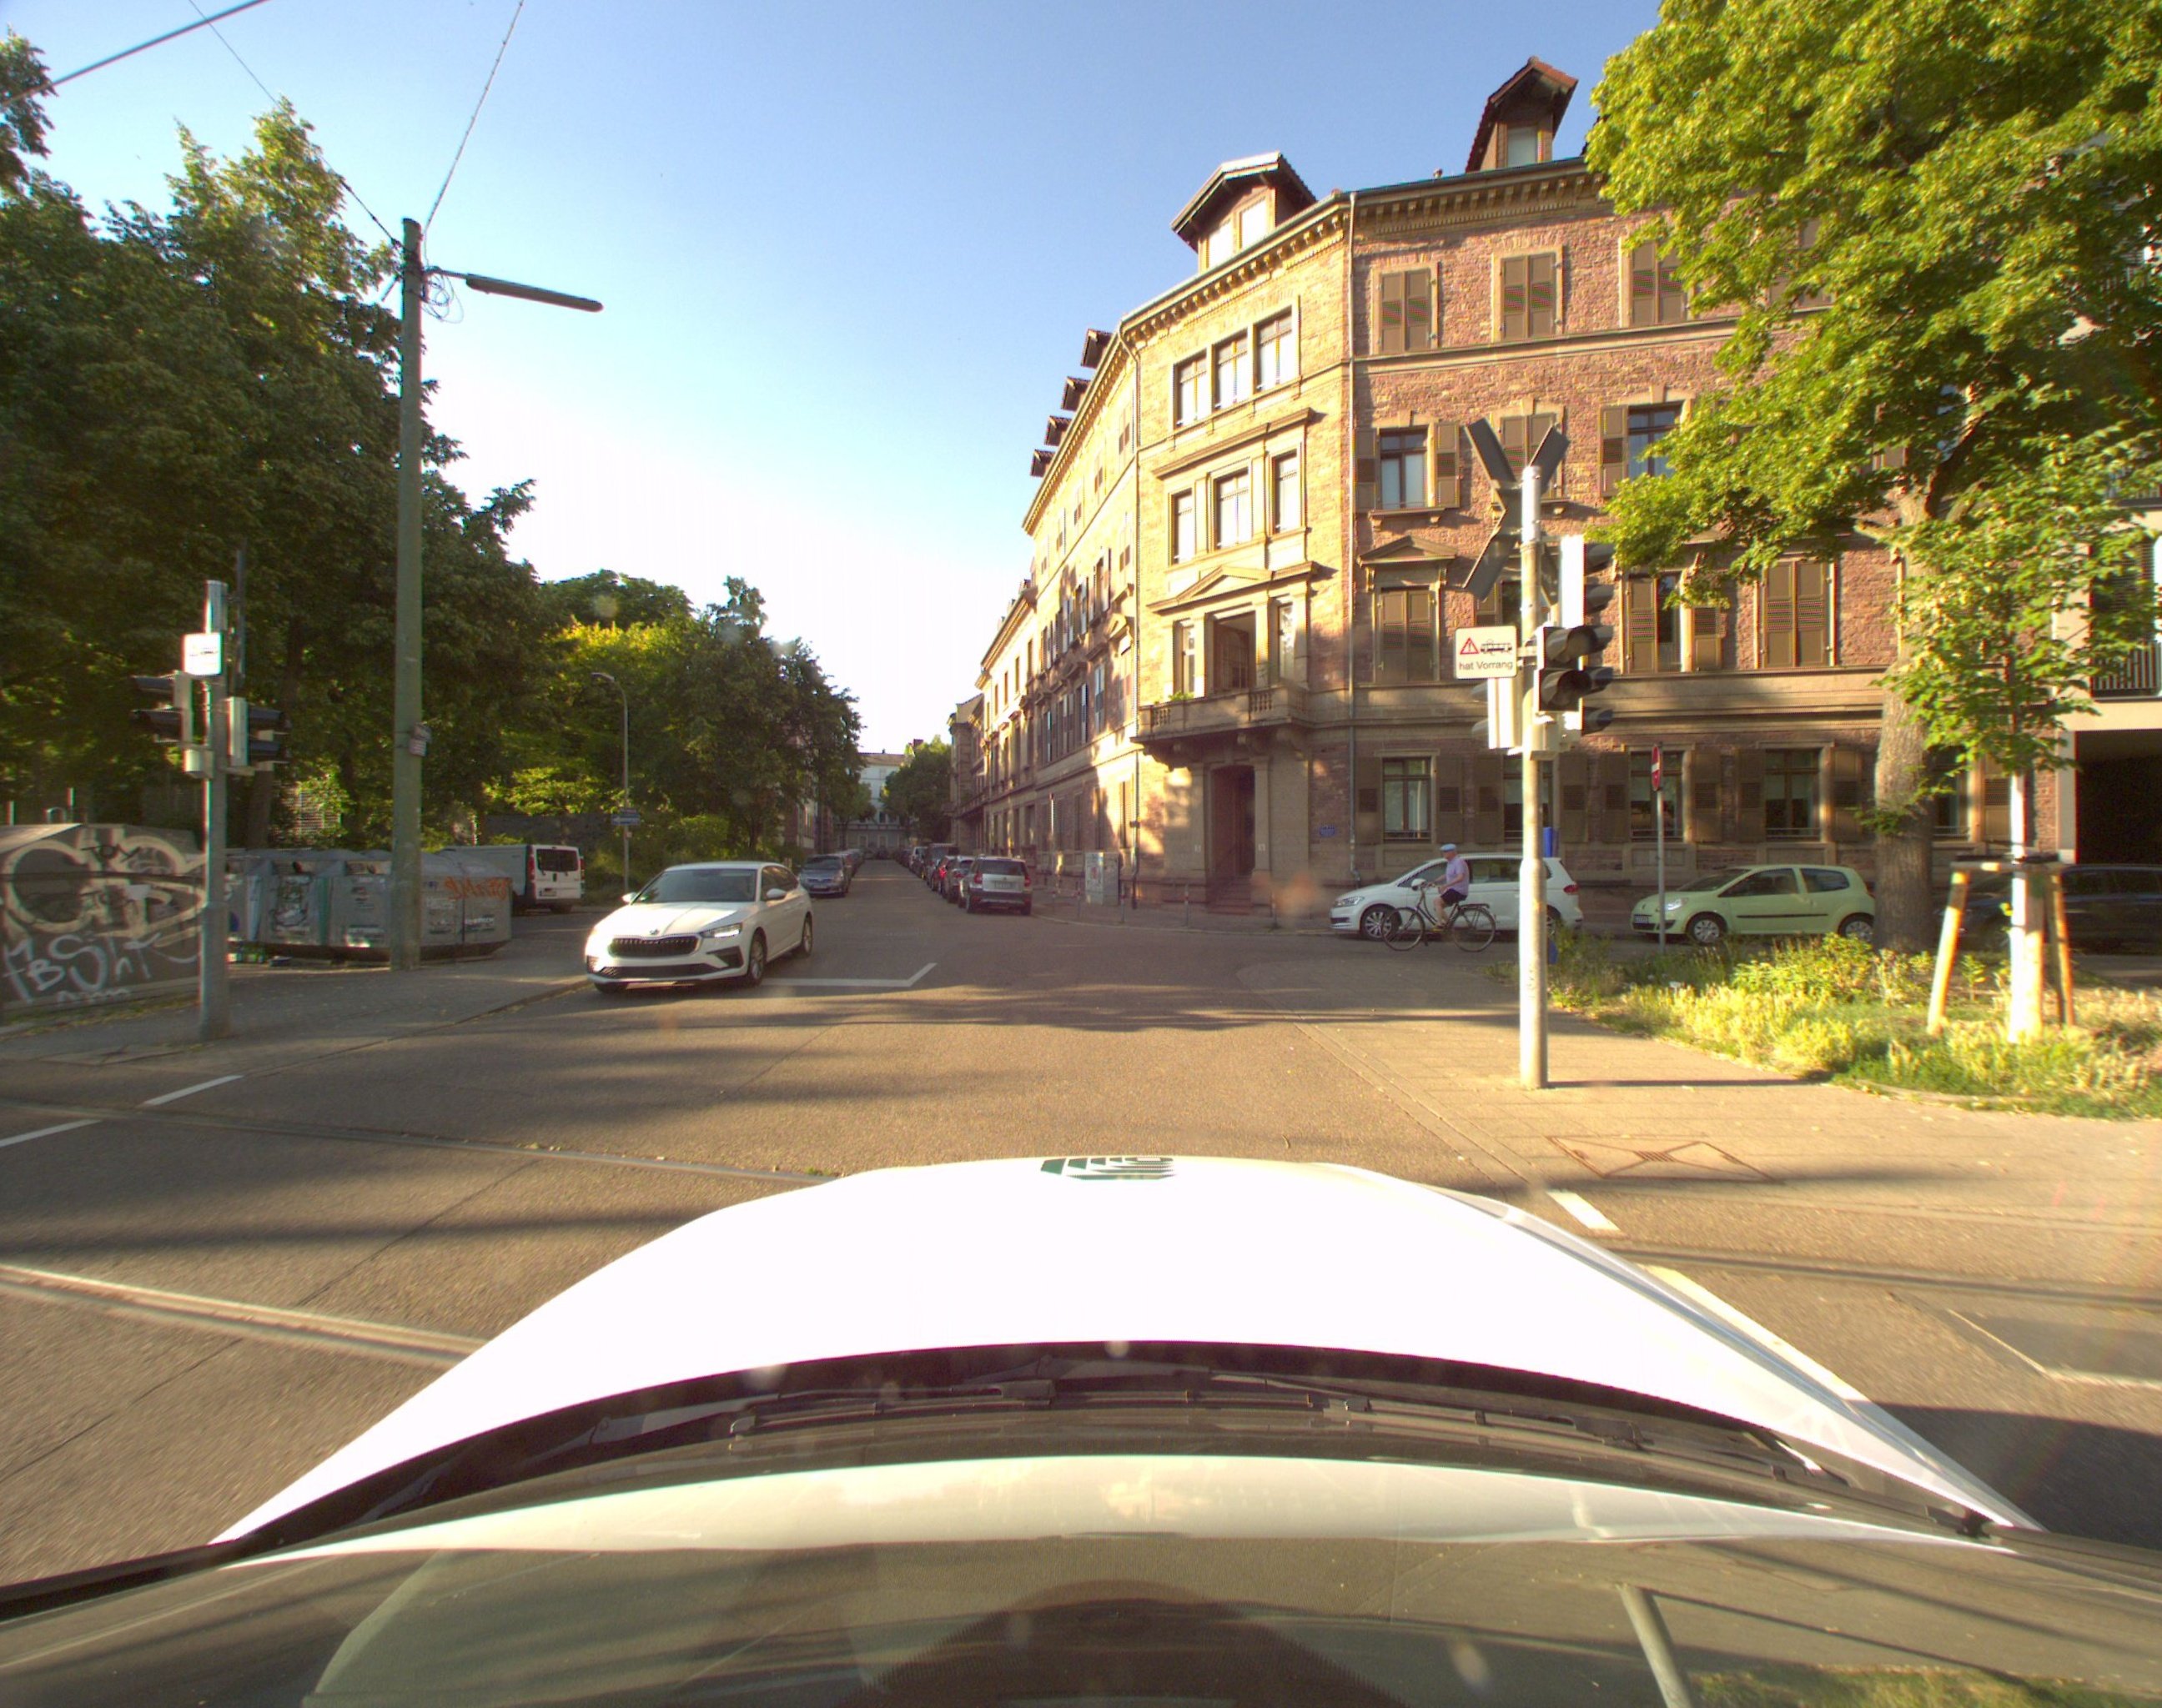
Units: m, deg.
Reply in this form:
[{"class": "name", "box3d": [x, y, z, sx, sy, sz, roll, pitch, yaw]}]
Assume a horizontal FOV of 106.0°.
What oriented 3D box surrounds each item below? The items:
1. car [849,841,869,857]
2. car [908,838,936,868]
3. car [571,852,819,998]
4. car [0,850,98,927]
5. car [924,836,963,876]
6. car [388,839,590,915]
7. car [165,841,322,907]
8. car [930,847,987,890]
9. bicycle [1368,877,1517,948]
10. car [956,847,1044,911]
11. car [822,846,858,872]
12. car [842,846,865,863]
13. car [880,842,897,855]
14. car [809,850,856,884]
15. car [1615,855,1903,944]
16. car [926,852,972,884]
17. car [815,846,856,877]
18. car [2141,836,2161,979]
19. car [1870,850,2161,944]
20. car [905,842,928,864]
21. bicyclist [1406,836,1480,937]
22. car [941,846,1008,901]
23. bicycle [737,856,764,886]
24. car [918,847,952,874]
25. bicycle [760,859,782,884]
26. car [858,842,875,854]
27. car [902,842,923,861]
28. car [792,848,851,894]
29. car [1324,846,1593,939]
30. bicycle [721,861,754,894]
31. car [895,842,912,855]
[{"class": "car", "box3d": [-23.631, -0.530, 86.645, 1.828, 1.500, 3.913, 3, 0, -14]}, {"class": "car", "box3d": [-11.978, -0.082, 61.156, 1.800, 2.072, 3.936, 2, 0, -14]}, {"class": "car", "box3d": [-4.704, 0.729, 10.609, 1.700, 1.456, 4.053, 0, 1, -7]}, {"class": "car", "box3d": [-22.879, 0.671, 16.495, 1.587, 1.562, 3.640, 0, -2, 43]}, {"class": "car", "box3d": [-7.616, 0.095, 44.877, 1.800, 2.072, 3.936, 2, 0, -14]}, {"class": "car", "box3d": [-16.610, 0.608, 22.939, 4.614, 2.003, 1.957, 0, 1, 11]}, {"class": "car", "box3d": [-25.639, 0.575, 24.949, 3.861, 1.903, 1.582, 0, 1, 14]}, {"class": "car", "box3d": [-5.229, 0.564, 34.353, 1.801, 1.614, 3.933, 2, 0, -16]}, {"class": "bicycle", "box3d": [5.870, 0.938, 13.279, 2.111, 1.054, 0.700, 1, 0, -2]}, {"class": "car", "box3d": [-2.500, 0.680, 24.248, 1.919, 1.657, 4.166, 3, -1, -14]}, {"class": "car", "box3d": [-14.837, 0.281, 50.238, 1.828, 1.500, 3.913, 3, 0, -14]}, {"class": "car", "box3d": [-21.178, 0.012, 75.784, 1.828, 1.500, 3.913, 3, 0, -14]}, {"class": "car", "box3d": [-28.430, -0.818, 120.331, 2.000, 1.684, 3.973, 1, -2, -20]}, {"class": "car", "box3d": [-11.739, 0.592, 38.734, 1.828, 1.447, 3.913, 3, 0, -14]}, {"class": "car", "box3d": [12.238, 0.796, 14.954, 3.689, 1.490, 1.747, 0, -2, 10]}, {"class": "car", "box3d": [-6.392, 0.627, 39.147, 1.800, 1.345, 3.936, 2, 0, -14]}, {"class": "car", "box3d": [-13.243, 0.381, 44.069, 1.828, 1.478, 3.913, 3, 0, -14]}, {"class": "car", "box3d": [12.411, 0.619, 7.793, 1.720, 1.687, 4.447, 0, 0, 38]}, {"class": "car", "box3d": [16.631, 0.706, 13.975, 4.123, 1.490, 1.748, 0, -2, 12]}, {"class": "car", "box3d": [-14.657, -0.145, 72.388, 1.800, 1.839, 3.936, 2, 0, -14]}, {"class": "bicyclist", "box3d": [5.888, 0.514, 13.277, 0.869, 1.588, 0.700, 1, 0, -2]}, {"class": "car", "box3d": [-3.885, 0.625, 29.087, 1.828, 1.723, 4.522, 3, 0, -14]}, {"class": "bicycle", "box3d": [-13.056, 0.643, 32.215, 0.597, 1.101, 2.615, 0, 1, -14]}, {"class": "car", "box3d": [-9.081, 0.392, 50.464, 1.800, 1.523, 3.936, 2, 0, -14]}, {"class": "bicycle", "box3d": [-14.626, 0.814, 38.508, 0.597, 1.101, 2.616, 0, 1, -12]}, {"class": "car", "box3d": [-31.294, -0.883, 118.859, 2.000, 1.684, 3.973, 1, -2, -20]}, {"class": "car", "box3d": [-15.998, -0.231, 77.256, 1.800, 1.727, 3.936, 2, 0, -14]}, {"class": "car", "box3d": [-10.219, 0.619, 32.312, 1.828, 1.615, 4.271, 3, 0, -14]}, {"class": "car", "box3d": [7.110, 0.711, 15.845, 4.453, 1.650, 1.880, 0, -2, 12]}, {"class": "bicycle", "box3d": [-12.459, 0.818, 29.574, 0.597, 1.101, 2.617, 0, 1, -12]}, {"class": "car", "box3d": [-26.446, -0.792, 121.210, 2.000, 1.684, 3.973, 1, -2, -20]}]
